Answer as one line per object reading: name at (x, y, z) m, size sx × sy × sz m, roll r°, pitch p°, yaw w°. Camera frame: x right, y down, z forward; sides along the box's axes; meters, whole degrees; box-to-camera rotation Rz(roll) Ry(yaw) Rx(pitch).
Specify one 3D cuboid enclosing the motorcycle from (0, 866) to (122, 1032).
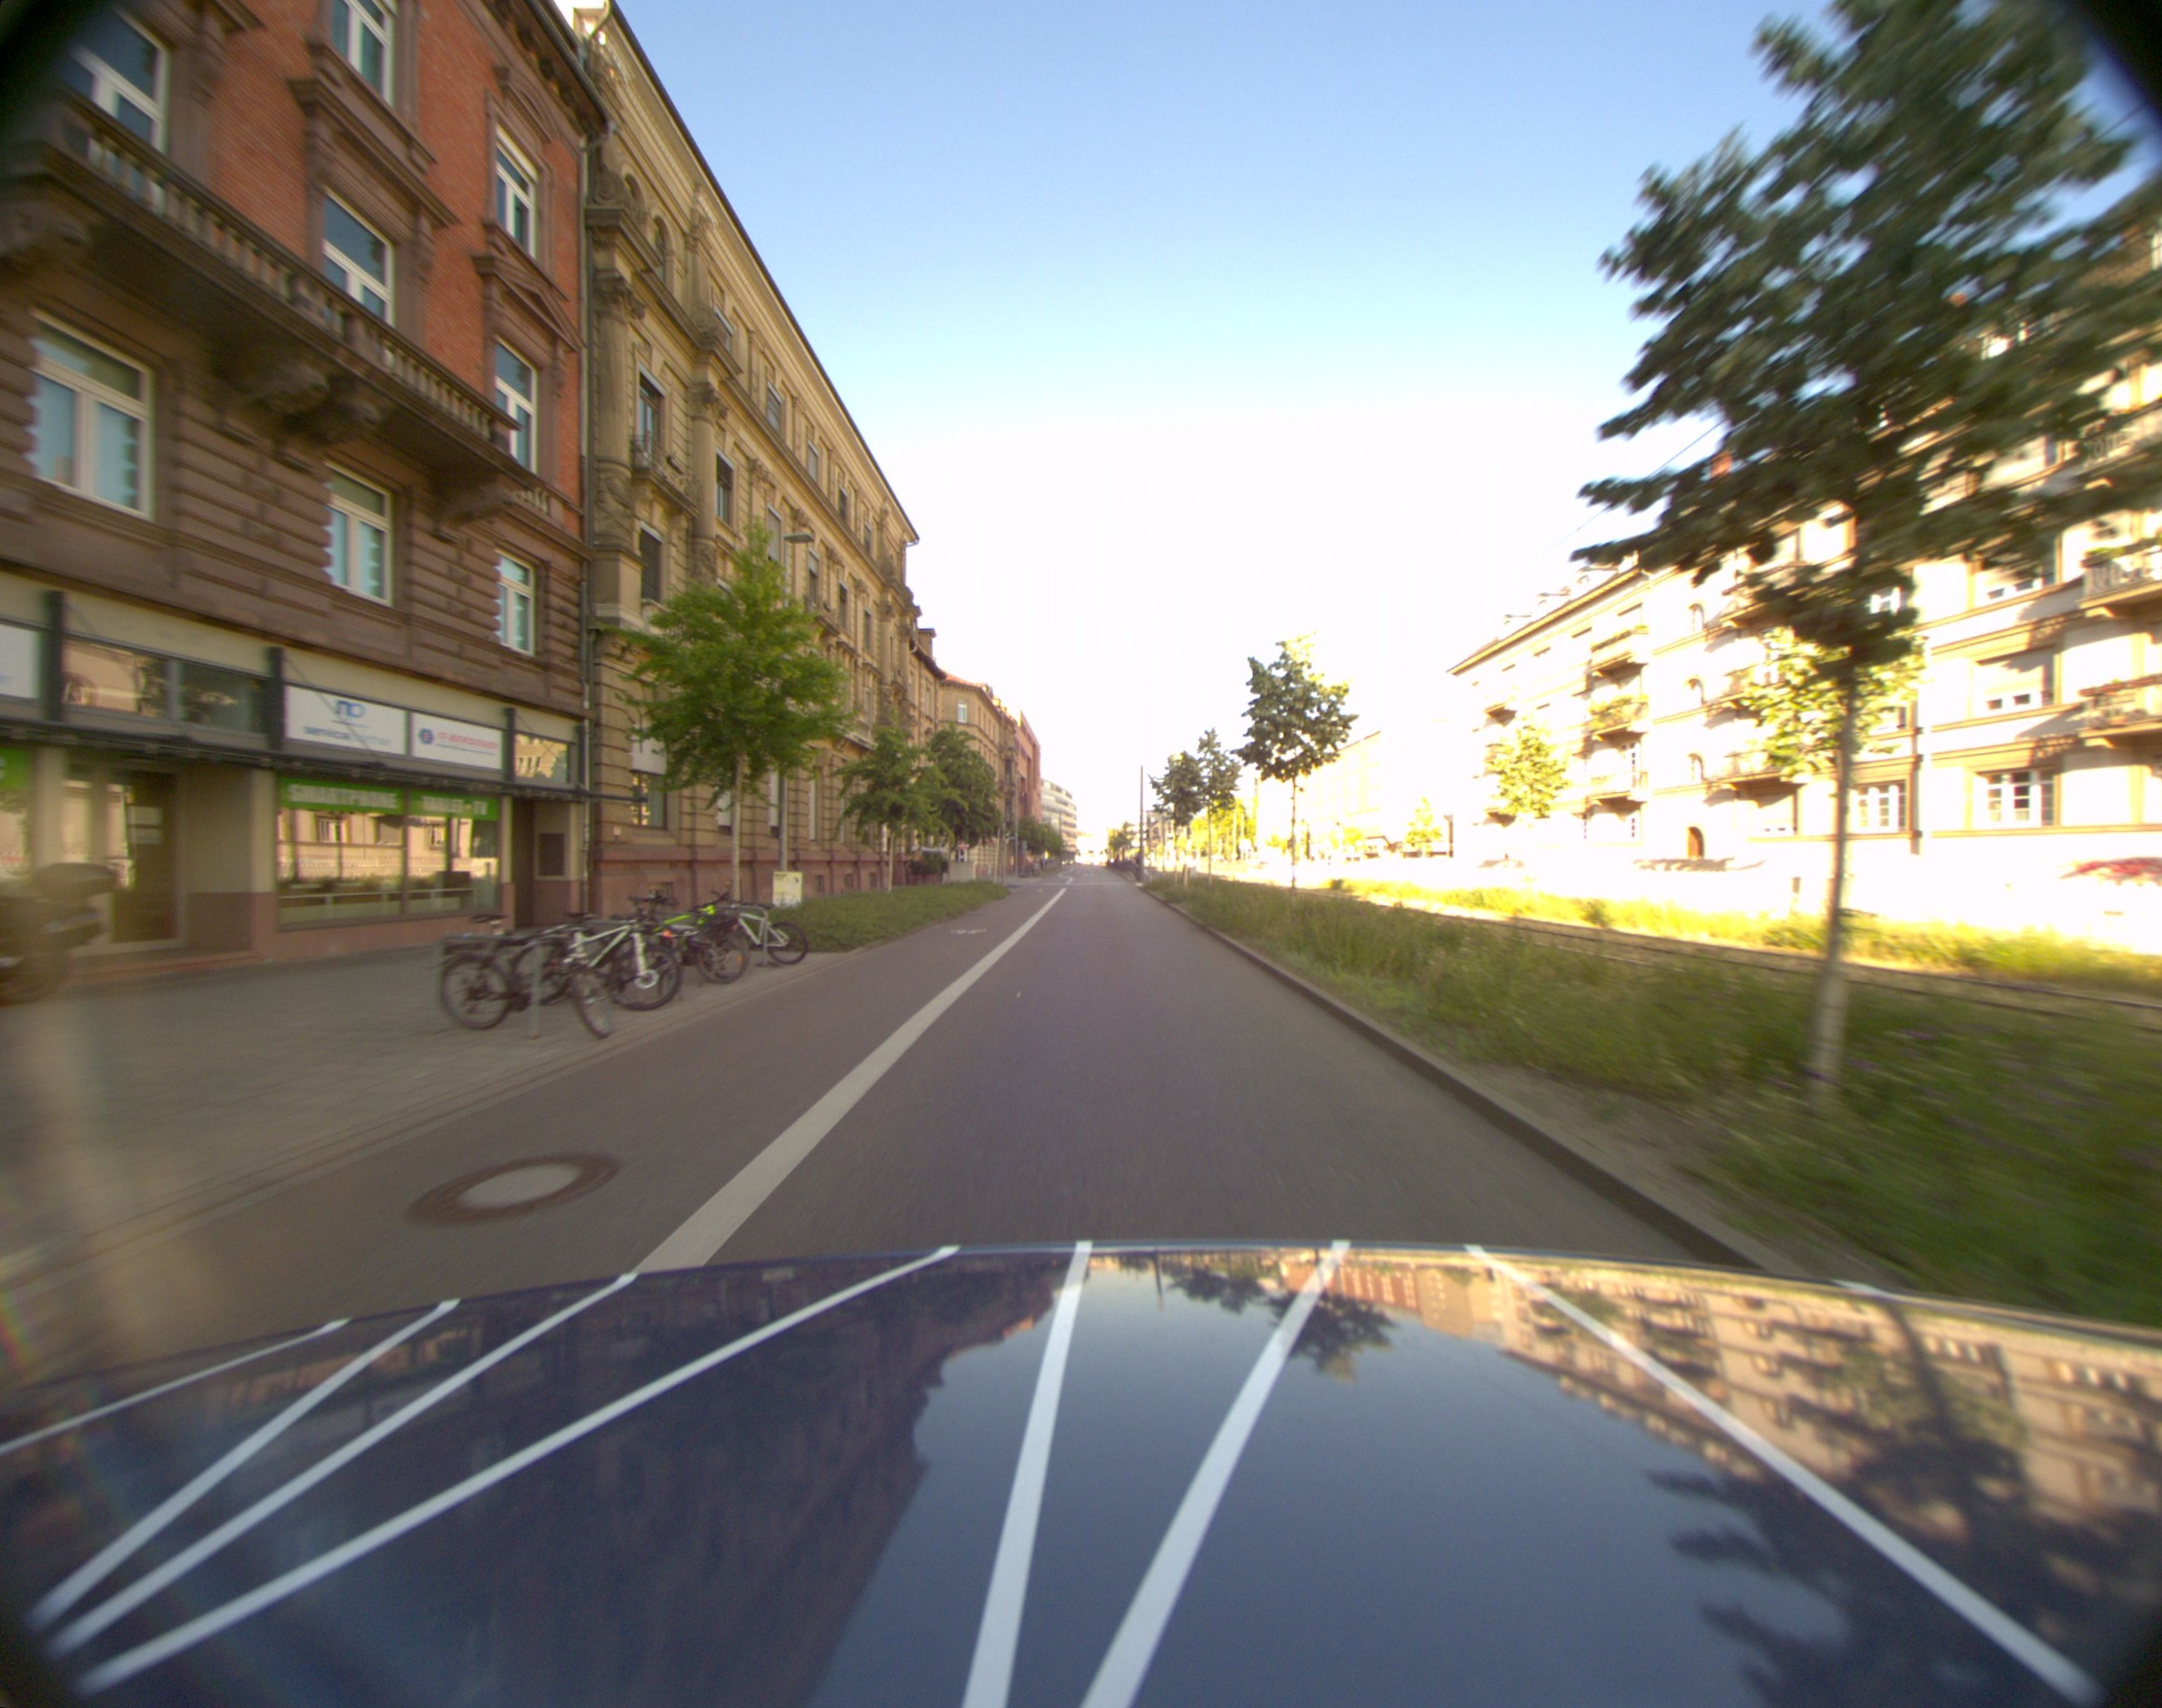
motorcycle at (-9.660, 0.817, 6.294) m, size 0.788 × 1.413 × 2.054 m, roll 0°, pitch 0°, yaw 2°

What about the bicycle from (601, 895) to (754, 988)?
bicycle at (-5.126, 1.097, 9.691) m, size 1.692 × 1.112 × 0.530 m, roll 0°, pitch 0°, yaw 3°

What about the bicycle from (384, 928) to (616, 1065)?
bicycle at (-4.829, 1.165, 6.352) m, size 1.613 × 1.045 × 0.478 m, roll 0°, pitch 0°, yaw 3°

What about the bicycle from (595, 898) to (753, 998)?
bicycle at (-4.813, 1.094, 9.041) m, size 1.583 × 1.112 × 0.577 m, roll 0°, pitch 0°, yaw 3°

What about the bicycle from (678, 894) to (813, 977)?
bicycle at (-4.778, 1.150, 10.881) m, size 1.693 × 1.112 × 0.530 m, roll 0°, pitch 0°, yaw -3°

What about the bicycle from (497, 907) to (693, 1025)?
bicycle at (-4.919, 1.117, 7.734) m, size 1.692 × 1.112 × 0.530 m, roll 0°, pitch 0°, yaw 3°
